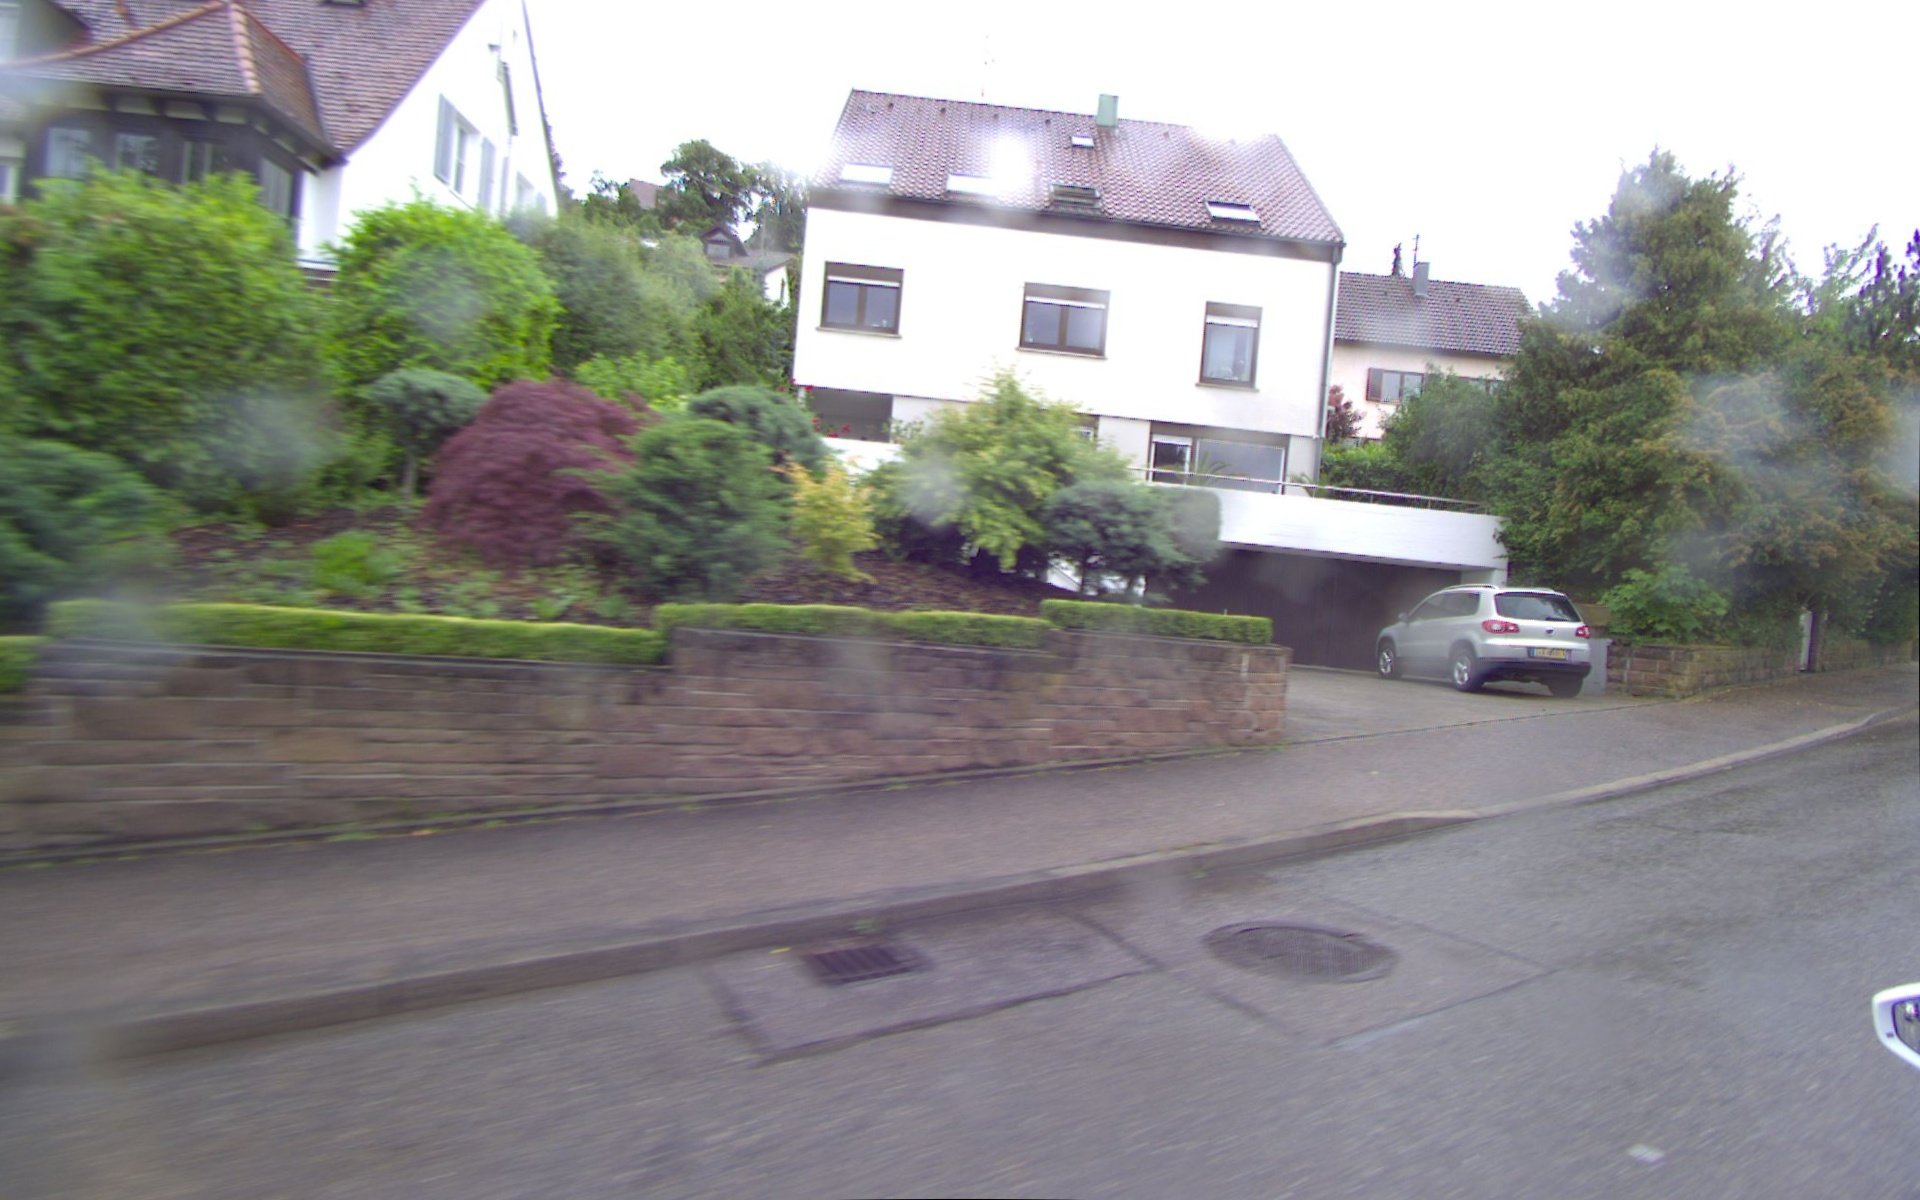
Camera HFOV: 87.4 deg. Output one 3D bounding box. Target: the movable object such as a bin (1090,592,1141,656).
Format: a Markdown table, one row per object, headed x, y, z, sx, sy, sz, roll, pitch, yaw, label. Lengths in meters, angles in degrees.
| x | y | z | sx | sy | sz | roll | pitch | yaw | label |
| --- | --- | --- | --- | --- | --- | --- | --- | --- | --- |
| 2.725 | 0.408 | 17.639 | 0.688 | 1.067 | 0.816 | 2 | 1 | -5 | movable object such as a bin |

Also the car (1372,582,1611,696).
| x | y | z | sx | sy | sz | roll | pitch | yaw | label |
| --- | --- | --- | --- | --- | --- | --- | --- | --- | --- |
| 8.561 | 0.643 | 16.603 | 1.827 | 1.605 | 3.946 | 2 | -2 | 0 | car |
